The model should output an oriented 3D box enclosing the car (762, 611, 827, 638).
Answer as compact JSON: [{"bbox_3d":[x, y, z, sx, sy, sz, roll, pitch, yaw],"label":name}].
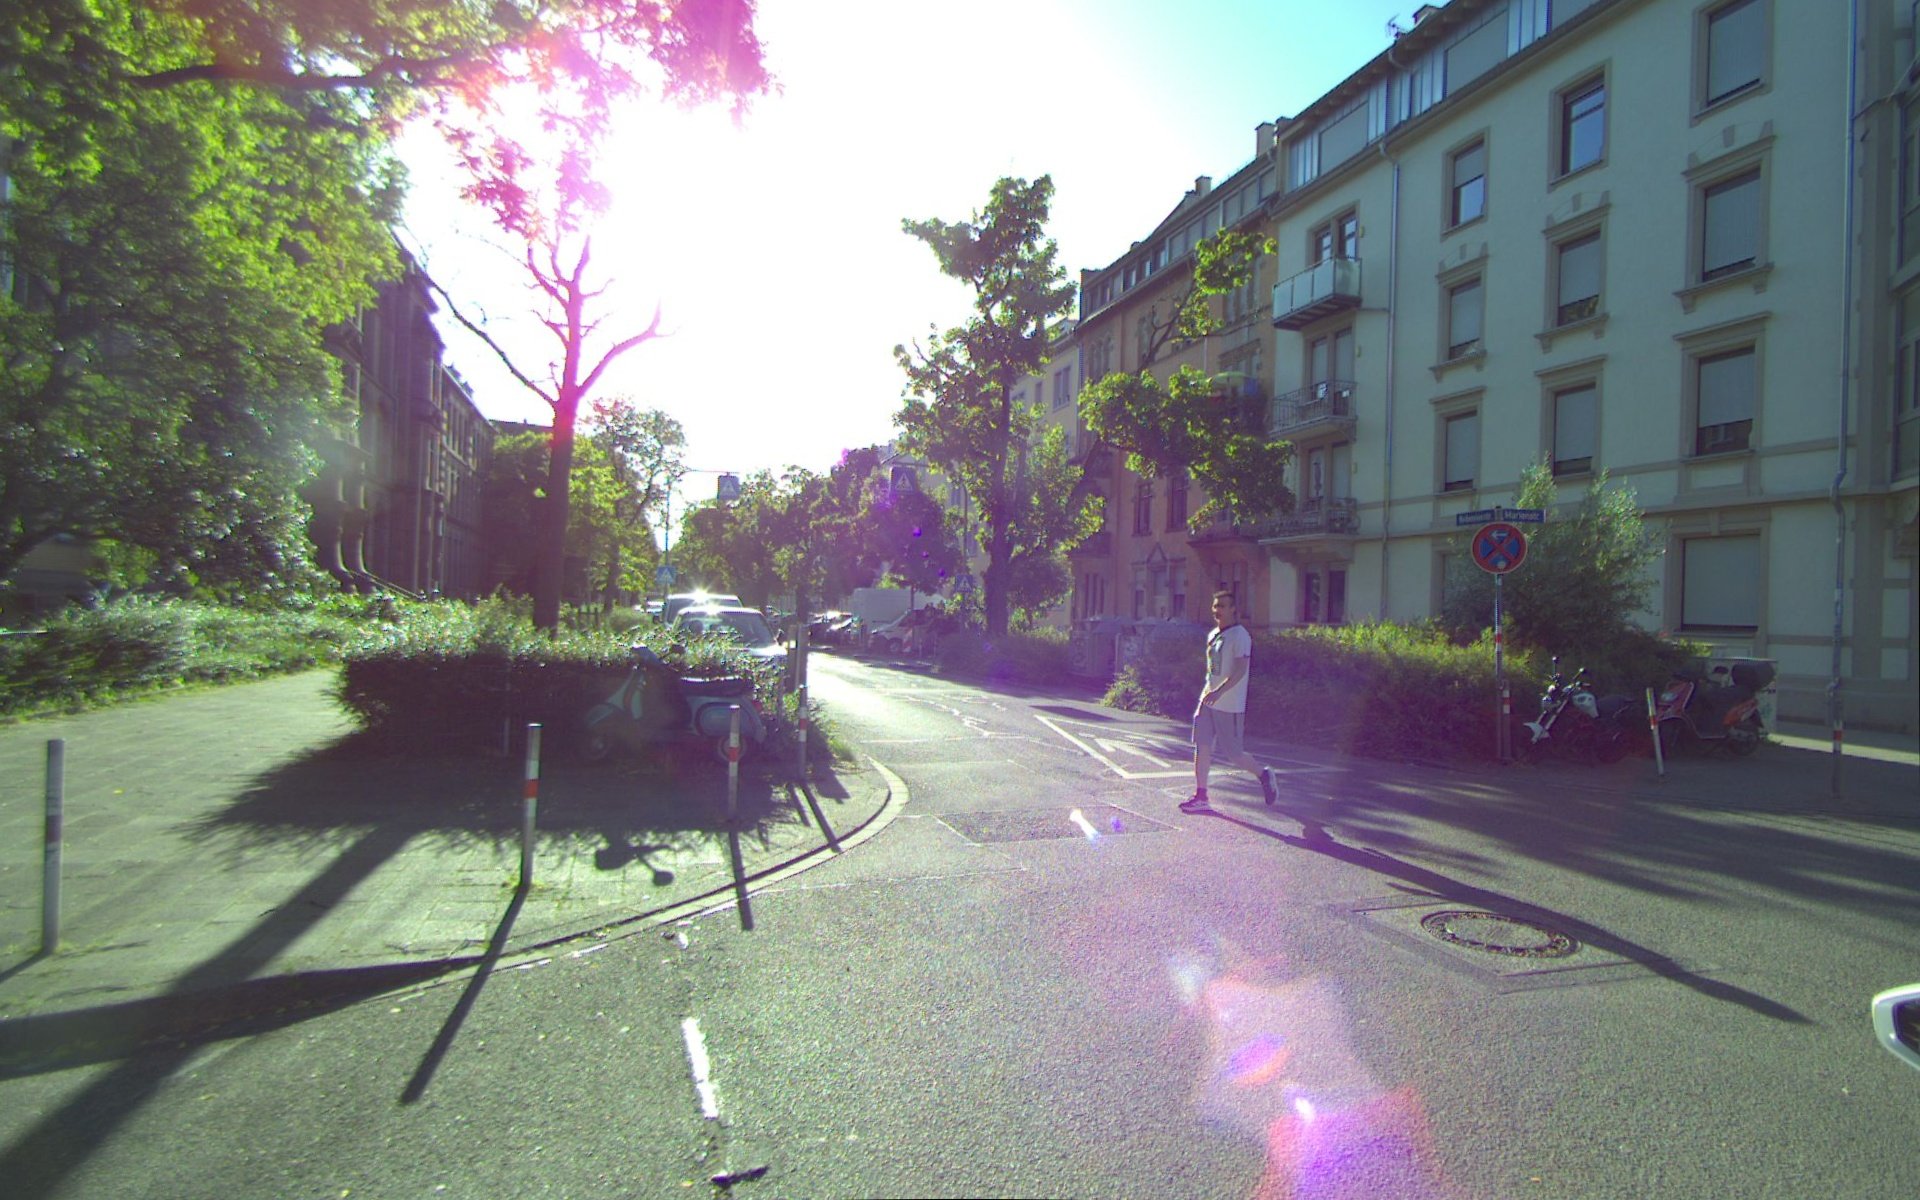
[{"bbox_3d":[-12.407,1.840,75.171,4.386,1.828,1.987,2,-1,-27],"label":"car"}]

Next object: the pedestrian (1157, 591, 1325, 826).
[{"bbox_3d":[2.257,0.838,8.128,0.991,1.769,0.801,2,-1,-21],"label":"pedestrian"}]

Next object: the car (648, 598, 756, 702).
[{"bbox_3d":[-5.820,1.011,22.273,1.969,2.040,4.630,0,-1,-19],"label":"car"}]

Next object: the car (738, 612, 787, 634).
[{"bbox_3d":[-19.397,2.271,98.854,4.382,2.040,1.988,2,-1,-24],"label":"car"}]

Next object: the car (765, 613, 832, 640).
[{"bbox_3d":[-11.751,1.957,73.118,4.386,1.828,1.987,2,-1,-27],"label":"car"}]

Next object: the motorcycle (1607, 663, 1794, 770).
[{"bbox_3d":[9.269,1.451,12.593,2.007,1.212,0.612,3,-1,-8],"label":"motorcycle"}]

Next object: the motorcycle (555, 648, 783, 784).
[{"bbox_3d":[-2.568,1.022,8.966,1.866,1.116,0.542,2,-1,-19],"label":"motorcycle"}]

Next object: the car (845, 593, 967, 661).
[{"bbox_3d":[-2.338,1.170,43.514,4.835,2.741,2.126,2,-1,-20],"label":"car"}]

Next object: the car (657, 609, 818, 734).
[{"bbox_3d":[-3.520,0.978,15.295,1.856,1.596,4.127,2,-1,-20],"label":"car"}]

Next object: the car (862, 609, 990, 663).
[{"bbox_3d":[-1.419,1.467,40.989,4.831,2.040,1.993,2,-1,-17],"label":"car"}]

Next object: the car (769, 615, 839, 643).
[{"bbox_3d":[-10.819,2.038,69.849,4.386,1.828,1.987,2,-1,-27],"label":"car"}]

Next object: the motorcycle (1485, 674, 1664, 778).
[{"bbox_3d":[7.192,1.471,11.771,1.838,1.104,0.640,3,-1,-12],"label":"motorcycle"}]

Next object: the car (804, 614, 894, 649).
[{"bbox_3d":[-6.407,1.803,58.001,4.831,1.848,1.993,2,-1,-17],"label":"car"}]
